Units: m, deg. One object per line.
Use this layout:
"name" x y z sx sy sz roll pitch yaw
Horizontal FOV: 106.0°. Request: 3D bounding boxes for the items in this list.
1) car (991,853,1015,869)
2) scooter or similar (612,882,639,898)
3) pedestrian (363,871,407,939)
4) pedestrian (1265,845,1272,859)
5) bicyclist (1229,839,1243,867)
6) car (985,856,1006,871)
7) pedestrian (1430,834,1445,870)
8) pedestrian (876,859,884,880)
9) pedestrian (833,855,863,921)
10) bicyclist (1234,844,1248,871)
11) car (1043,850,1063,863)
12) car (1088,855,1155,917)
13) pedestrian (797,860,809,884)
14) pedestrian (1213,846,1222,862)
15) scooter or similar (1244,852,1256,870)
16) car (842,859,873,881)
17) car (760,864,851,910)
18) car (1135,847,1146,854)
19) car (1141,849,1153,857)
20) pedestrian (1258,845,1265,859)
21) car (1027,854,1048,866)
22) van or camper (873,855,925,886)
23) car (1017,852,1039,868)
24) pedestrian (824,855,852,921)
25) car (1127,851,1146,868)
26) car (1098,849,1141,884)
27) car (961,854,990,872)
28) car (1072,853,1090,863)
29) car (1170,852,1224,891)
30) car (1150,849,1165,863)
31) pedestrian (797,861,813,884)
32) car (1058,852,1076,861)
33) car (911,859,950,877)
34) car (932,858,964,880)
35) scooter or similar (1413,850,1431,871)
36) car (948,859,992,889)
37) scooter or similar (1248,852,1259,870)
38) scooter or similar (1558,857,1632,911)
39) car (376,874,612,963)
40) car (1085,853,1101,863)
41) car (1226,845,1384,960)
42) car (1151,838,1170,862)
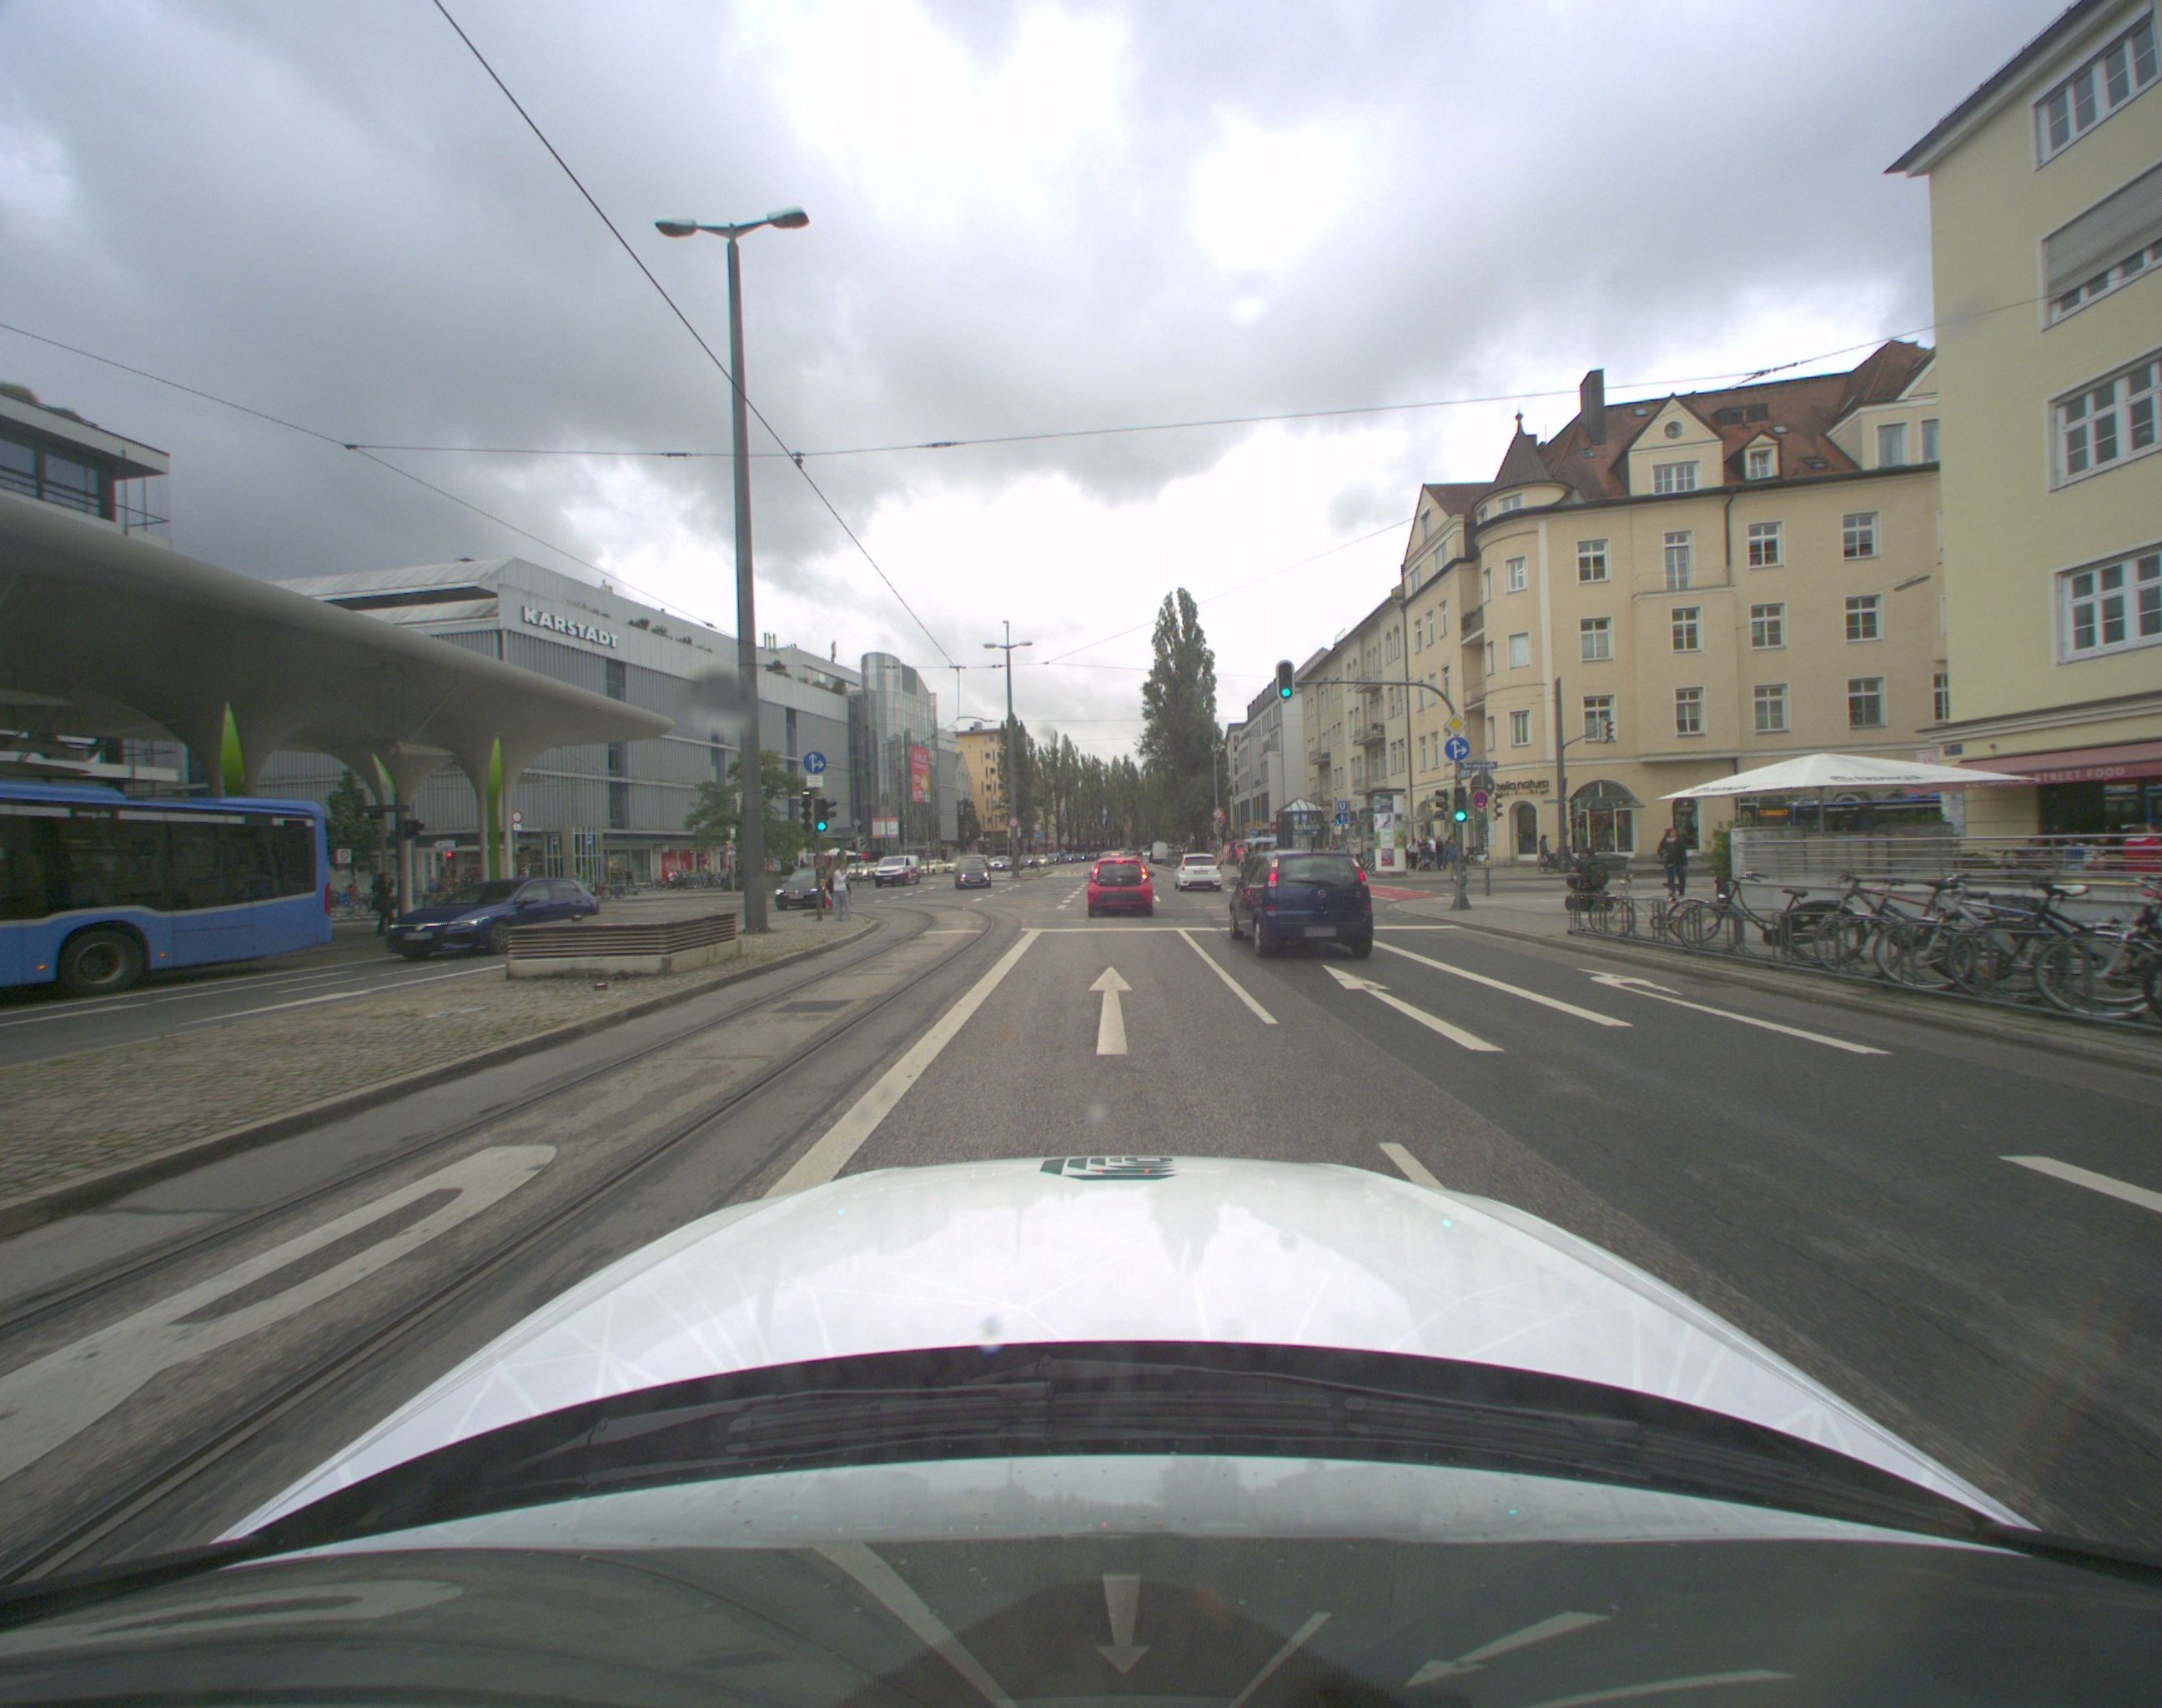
"car" -7.696 0.692 80.647 1.987 1.412 4.167 2 0 0
"scooter or similar" -28.687 2.269 51.321 1.398 0.982 0.413 -2 0 -8
"pedestrian" -18.096 1.310 21.172 0.543 1.720 0.616 -2 0 9
"pedestrian" 19.507 -0.224 84.893 0.572 1.402 0.580 -2 0 2
"bicyclist" 10.827 -0.059 56.837 0.759 1.869 1.133 -2 0 3
"car" -9.469 1.068 90.478 1.692 1.596 4.001 -2 0 1
"pedestrian" 17.802 -0.093 40.635 0.642 1.751 0.640 -1 3 24
"pedestrian" -16.846 1.273 68.256 0.441 1.759 0.358 -2 0 37
"pedestrian" -5.767 0.834 20.174 0.466 1.618 0.515 -2 0 -45
"bicyclist" 9.914 0.195 50.479 0.611 1.657 1.252 -2 0 3
"car" -3.836 0.318 113.136 1.925 1.738 4.600 -2 0 9
"car" 1.048 0.763 21.081 1.598 1.461 3.132 0 0 3
"pedestrian" -20.832 1.327 61.069 0.752 1.773 0.767 -2 0 -21
"pedestrian" 15.476 0.021 92.300 0.787 1.727 0.764 -2 0 2
"scooter or similar" 11.906 0.473 57.303 0.360 1.176 1.356 -2 0 32
"car" -18.134 1.274 66.228 1.994 1.536 4.399 -3 1 -10
"car" -9.784 1.134 29.247 1.837 1.416 4.034 -2 0 0
"car" 14.953 -0.873 204.102 1.979 1.691 4.431 -2 0 15
"car" 15.961 -0.309 197.423 1.979 1.691 4.431 -2 0 15
"pedestrian" 18.798 -0.221 84.936 0.596 1.402 0.580 -2 0 2
"car" -5.438 0.704 102.126 1.756 1.421 4.647 -2 0 6
"van or camper" -11.477 0.996 51.667 1.921 1.826 5.441 -2 0 1
"car" -5.966 0.675 92.138 1.735 1.670 4.738 -2 0 4
"pedestrian" -6.092 0.837 20.414 0.489 1.618 0.552 -2 0 -33
"car" 6.266 0.583 92.769 1.986 1.838 4.002 -2 0 2
"car" 1.903 0.593 40.809 1.986 1.618 4.001 -2 0 2
"car" -11.968 1.063 92.862 1.983 2.014 5.532 -1 -1 6
"car" -0.055 0.570 134.107 1.980 1.534 4.603 -2 0 12
"car" 4.587 0.658 32.582 1.693 1.426 3.498 -2 0 2
"car" 9.938 0.260 106.041 1.696 1.662 3.558 -2 0 2
"pedestrian" -20.318 1.330 59.917 0.765 1.654 0.754 -2 0 13
"car" -2.084 0.399 125.467 1.833 1.382 4.614 -1 -1 10
"car" -14.194 1.320 77.140 1.980 1.508 4.649 -2 0 11
"car" -10.016 1.113 61.606 1.658 1.508 4.281 -2 0 0
"scooter or similar" 17.162 0.321 40.953 0.812 0.994 0.597 -1 3 24
"car" -5.712 0.970 41.473 1.550 1.445 3.516 -1 0 -19
"scooter or similar" 12.079 0.473 56.937 0.297 1.176 1.285 -2 0 32
"scooter or similar" 11.055 0.625 17.565 0.773 1.075 1.256 -2 0 0
"car" -11.673 1.204 16.615 1.672 1.395 4.232 -3 0 0
"car" 2.190 0.650 143.730 1.981 1.692 4.935 -1 -1 11
"car" 3.433 0.672 13.126 1.696 1.589 3.558 -1 0 2
"car" 9.715 -0.467 99.911 2.098 2.718 4.808 -2 0 3
